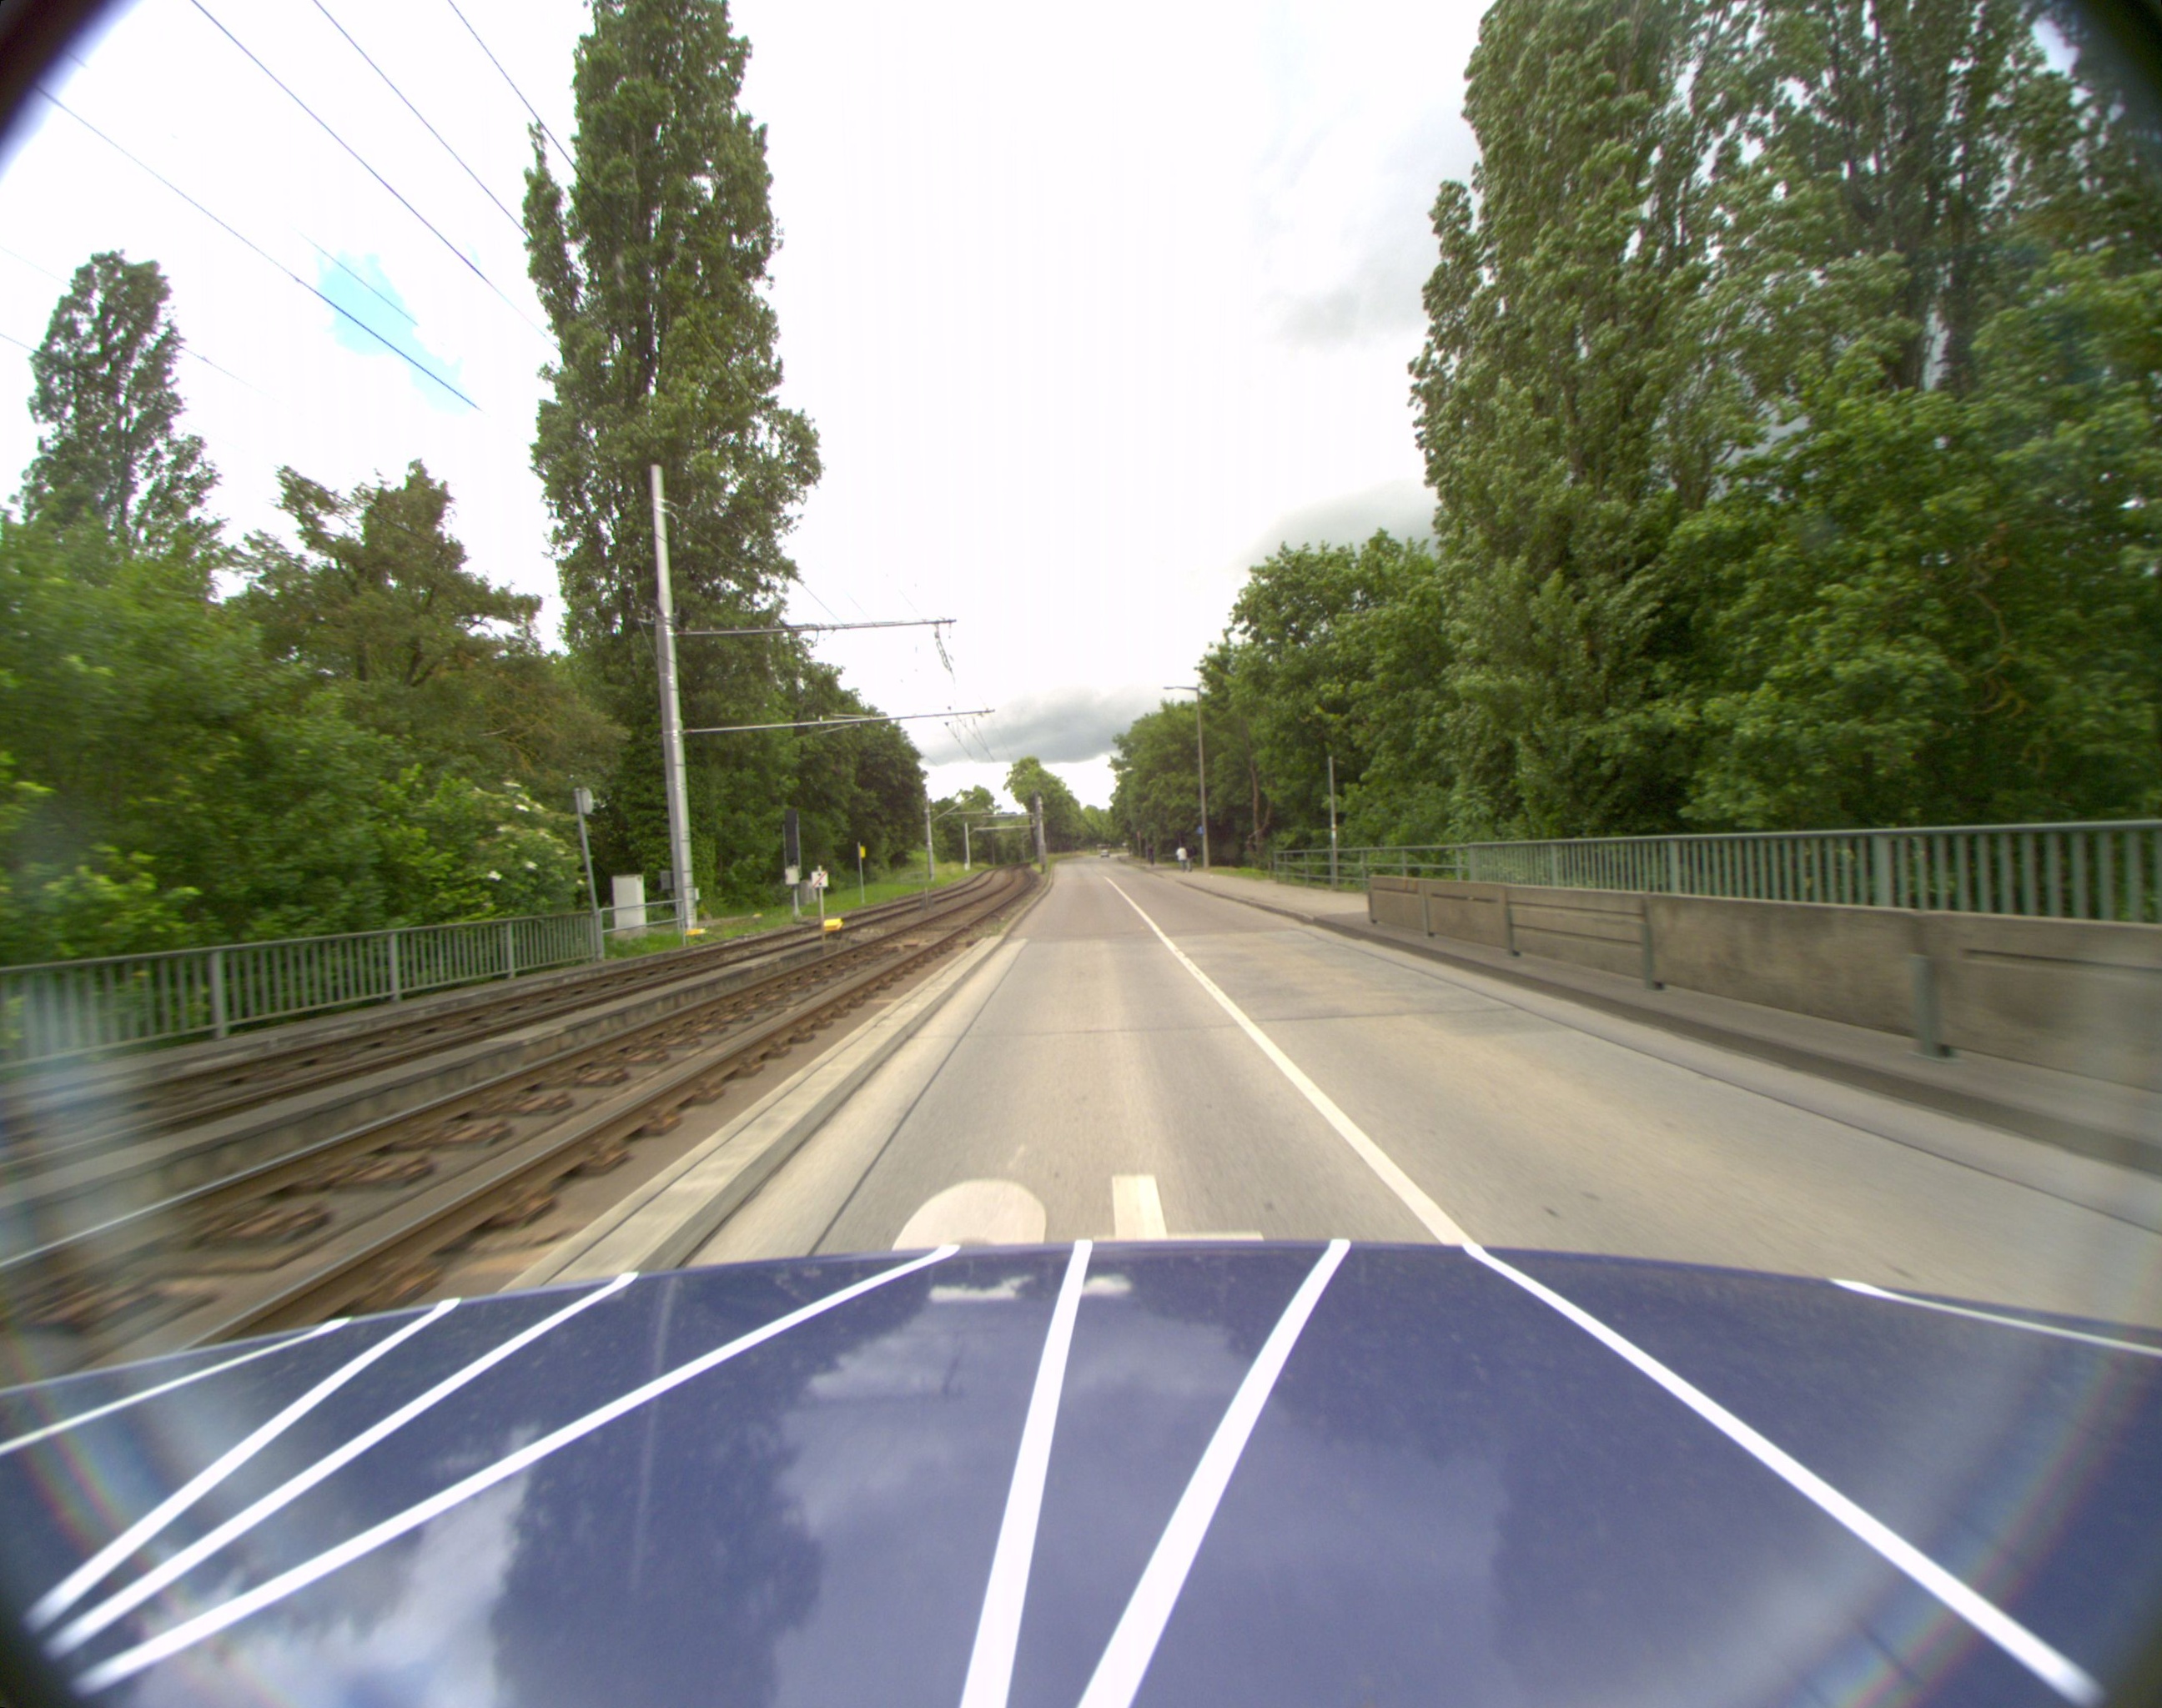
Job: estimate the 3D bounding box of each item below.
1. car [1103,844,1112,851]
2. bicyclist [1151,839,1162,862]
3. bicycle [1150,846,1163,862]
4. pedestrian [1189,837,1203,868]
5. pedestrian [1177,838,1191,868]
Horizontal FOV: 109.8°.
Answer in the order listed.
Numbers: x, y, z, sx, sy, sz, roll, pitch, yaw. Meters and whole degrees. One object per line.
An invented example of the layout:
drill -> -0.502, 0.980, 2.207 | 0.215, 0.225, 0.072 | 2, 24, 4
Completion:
car -> 5.758, -1.383, 164.005 | 1.799, 1.483, 4.179 | -1, 0, 0
bicyclist -> 6.406, -0.284, 64.828 | 0.688, 1.937, 0.835 | -4, 1, -4
bicycle -> 6.427, -0.013, 64.887 | 0.700, 1.324, 2.279 | -4, 2, -4
pedestrian -> 7.031, -0.095, 46.640 | 0.588, 1.793, 0.822 | -5, 1, -1
pedestrian -> 6.312, -0.053, 46.566 | 0.552, 1.755, 0.858 | -7, 1, -1
